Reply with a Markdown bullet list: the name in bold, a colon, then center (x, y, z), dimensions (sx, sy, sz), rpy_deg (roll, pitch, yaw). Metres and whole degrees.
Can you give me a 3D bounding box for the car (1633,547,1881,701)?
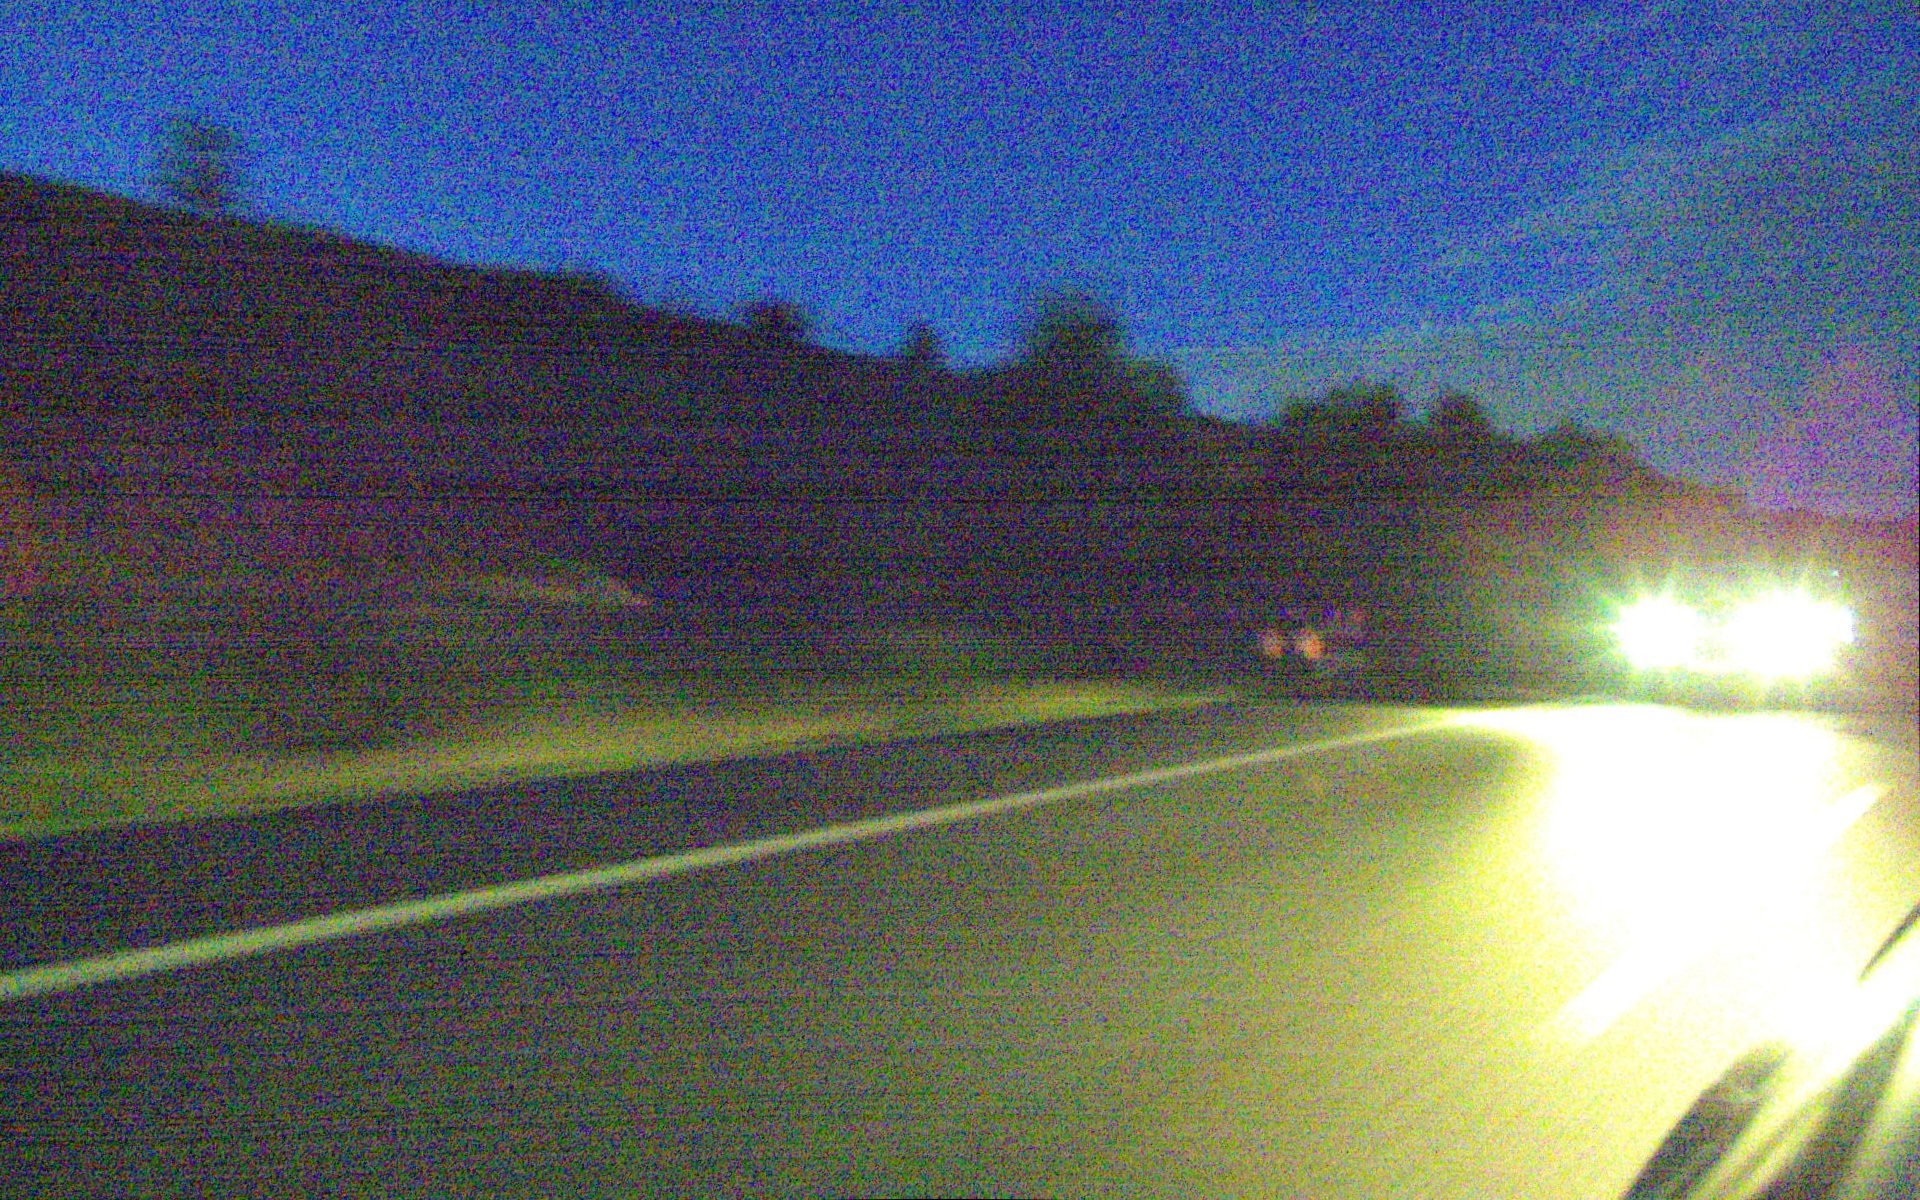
- **car**: center (12.647, 0.282, 15.899), dimensions (5.566, 2.026, 2.119), rpy_deg (0, 1, -42)
